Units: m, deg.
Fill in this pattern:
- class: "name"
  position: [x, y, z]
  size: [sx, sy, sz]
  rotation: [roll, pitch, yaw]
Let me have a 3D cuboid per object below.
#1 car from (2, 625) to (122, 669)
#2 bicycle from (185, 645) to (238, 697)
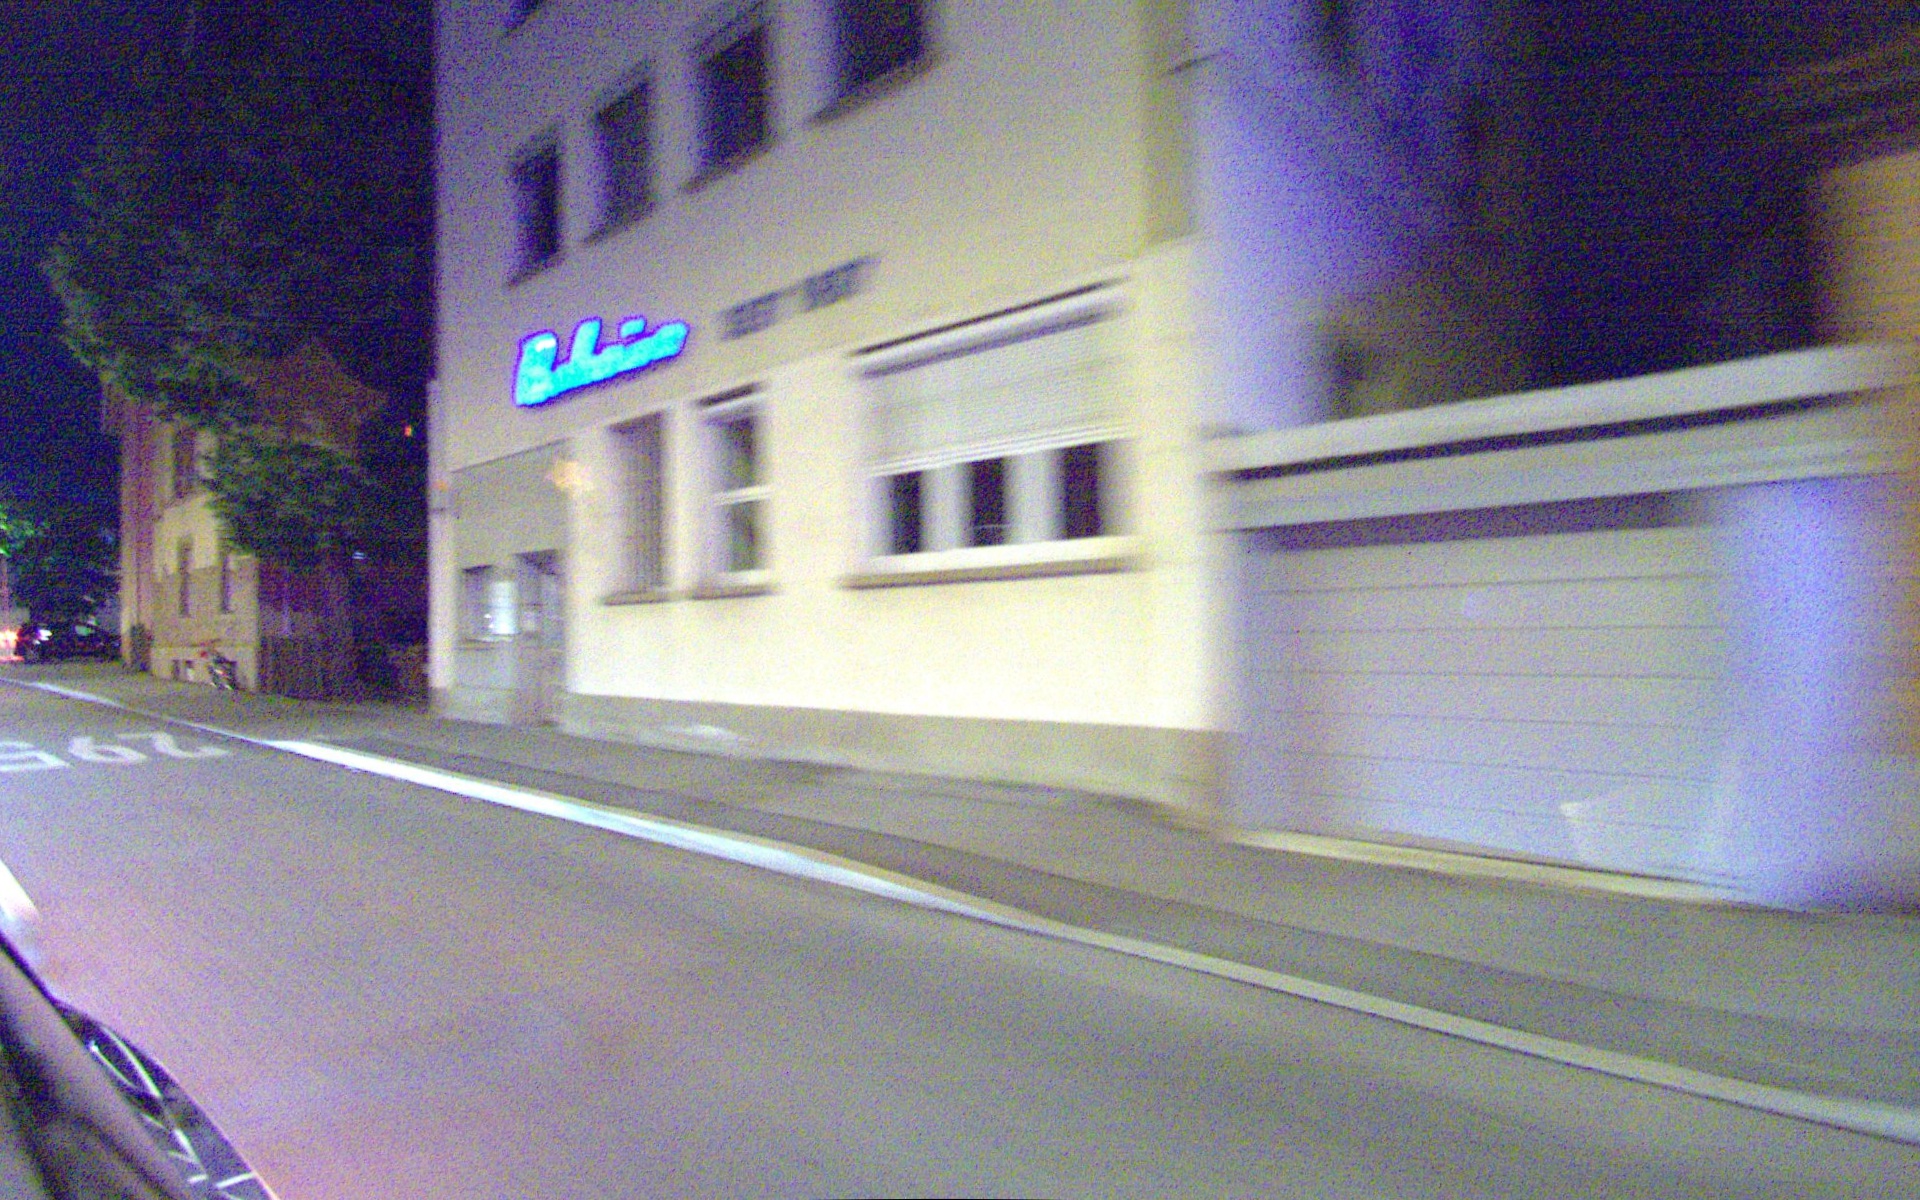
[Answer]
- class: "car"
  position: [-41.203, 2.137, 46.575]
  size: [3.934, 1.903, 1.913]
  rotation: [0, -2, -36]
- class: "bicycle"
  position: [-16.454, 1.543, 22.240]
  size: [1.721, 1.059, 0.613]
  rotation: [-2, -2, 42]
